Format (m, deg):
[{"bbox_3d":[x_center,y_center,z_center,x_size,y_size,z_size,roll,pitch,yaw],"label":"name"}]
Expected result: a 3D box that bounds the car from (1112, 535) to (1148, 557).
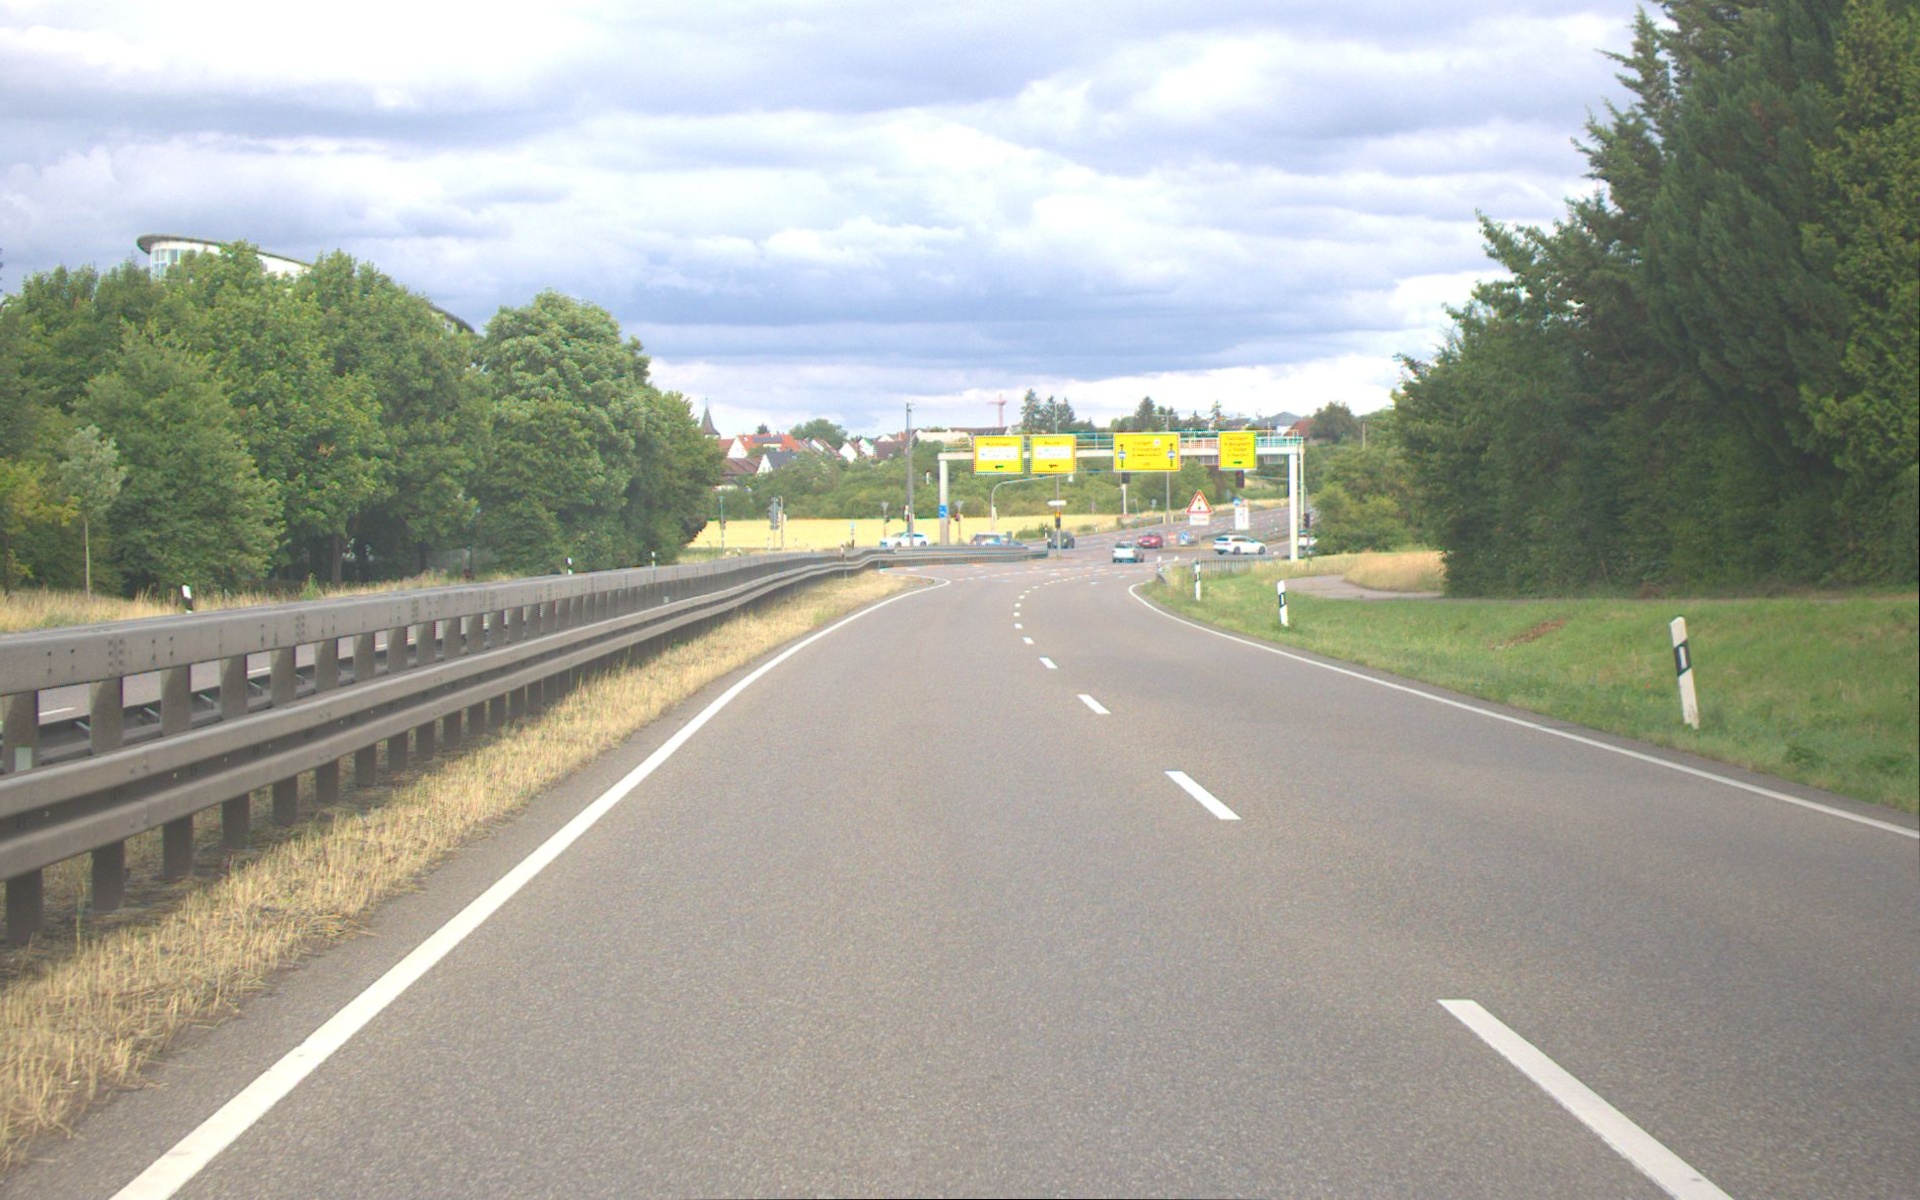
[{"bbox_3d":[11.927,-3.789,240.617,1.799,1.551,3.998,0,1,13],"label":"car"}]
